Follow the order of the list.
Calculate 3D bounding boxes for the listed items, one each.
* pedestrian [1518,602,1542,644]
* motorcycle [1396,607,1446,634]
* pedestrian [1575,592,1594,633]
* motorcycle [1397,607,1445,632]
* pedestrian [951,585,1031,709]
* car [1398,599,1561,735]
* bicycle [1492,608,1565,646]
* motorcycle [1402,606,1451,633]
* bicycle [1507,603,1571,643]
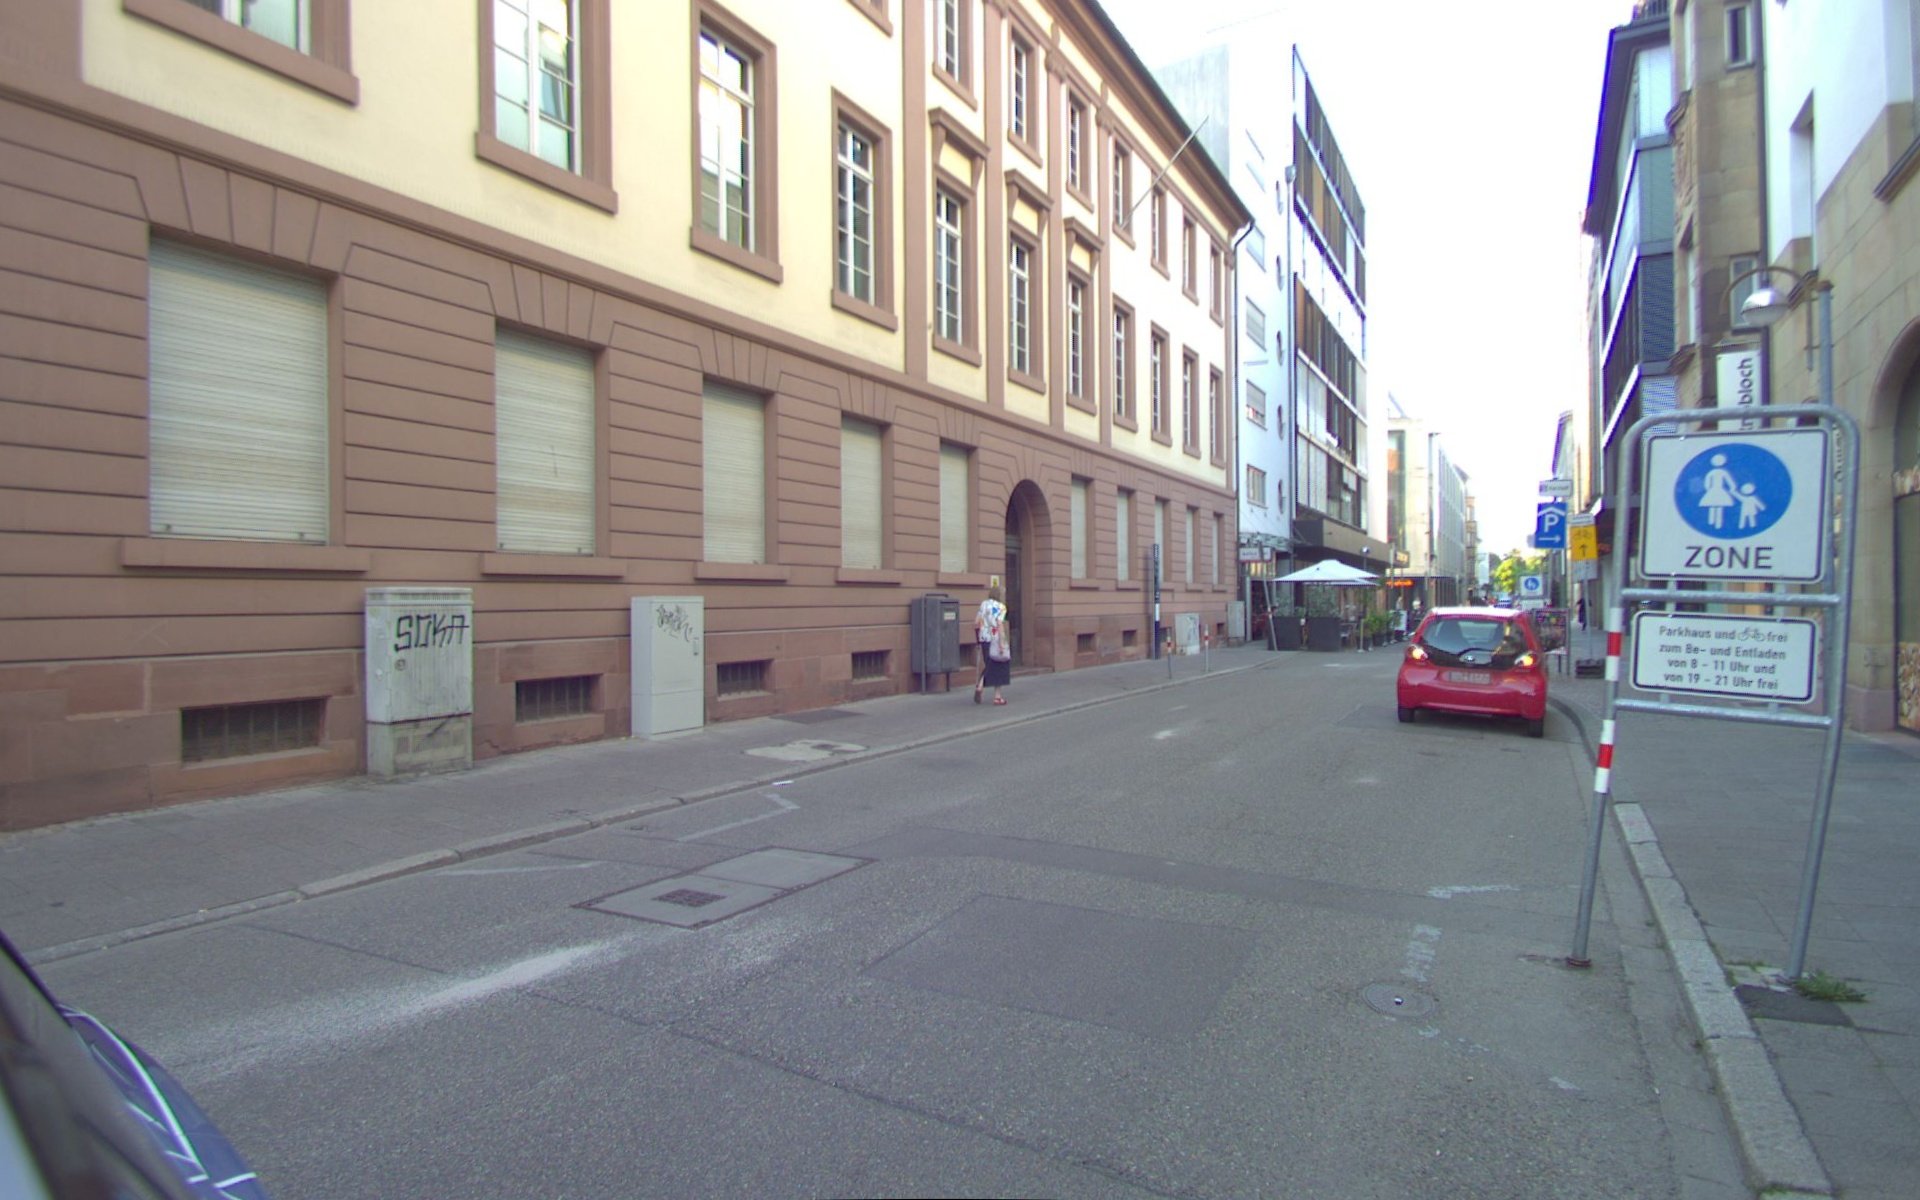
[{"bbox_3d":[23.010,0.924,40.873,0.808,1.684,0.922,0,0,28],"label":"pedestrian"},{"bbox_3d":[22.667,0.976,49.739,2.188,1.292,0.644,0,0,33],"label":"motorcycle"},{"bbox_3d":[26.041,0.526,42.205,0.669,1.684,0.755,0,0,32],"label":"pedestrian"},{"bbox_3d":[23.765,0.990,52.174,2.188,1.292,0.644,0,0,33],"label":"motorcycle"},{"bbox_3d":[0.449,0.640,14.338,0.808,1.684,0.922,0,0,28],"label":"pedestrian"},{"bbox_3d":[6.761,0.751,13.057,1.632,1.452,3.124,2,1,30],"label":"car"},{"bbox_3d":[17.797,0.849,31.683,1.947,1.139,0.613,-2,-1,32],"label":"bicycle"},{"bbox_3d":[23.260,0.977,50.488,2.188,1.292,0.644,0,0,33],"label":"motorcycle"},{"bbox_3d":[17.238,0.691,30.157,1.602,1.127,0.613,-2,-1,32],"label":"bicycle"}]
